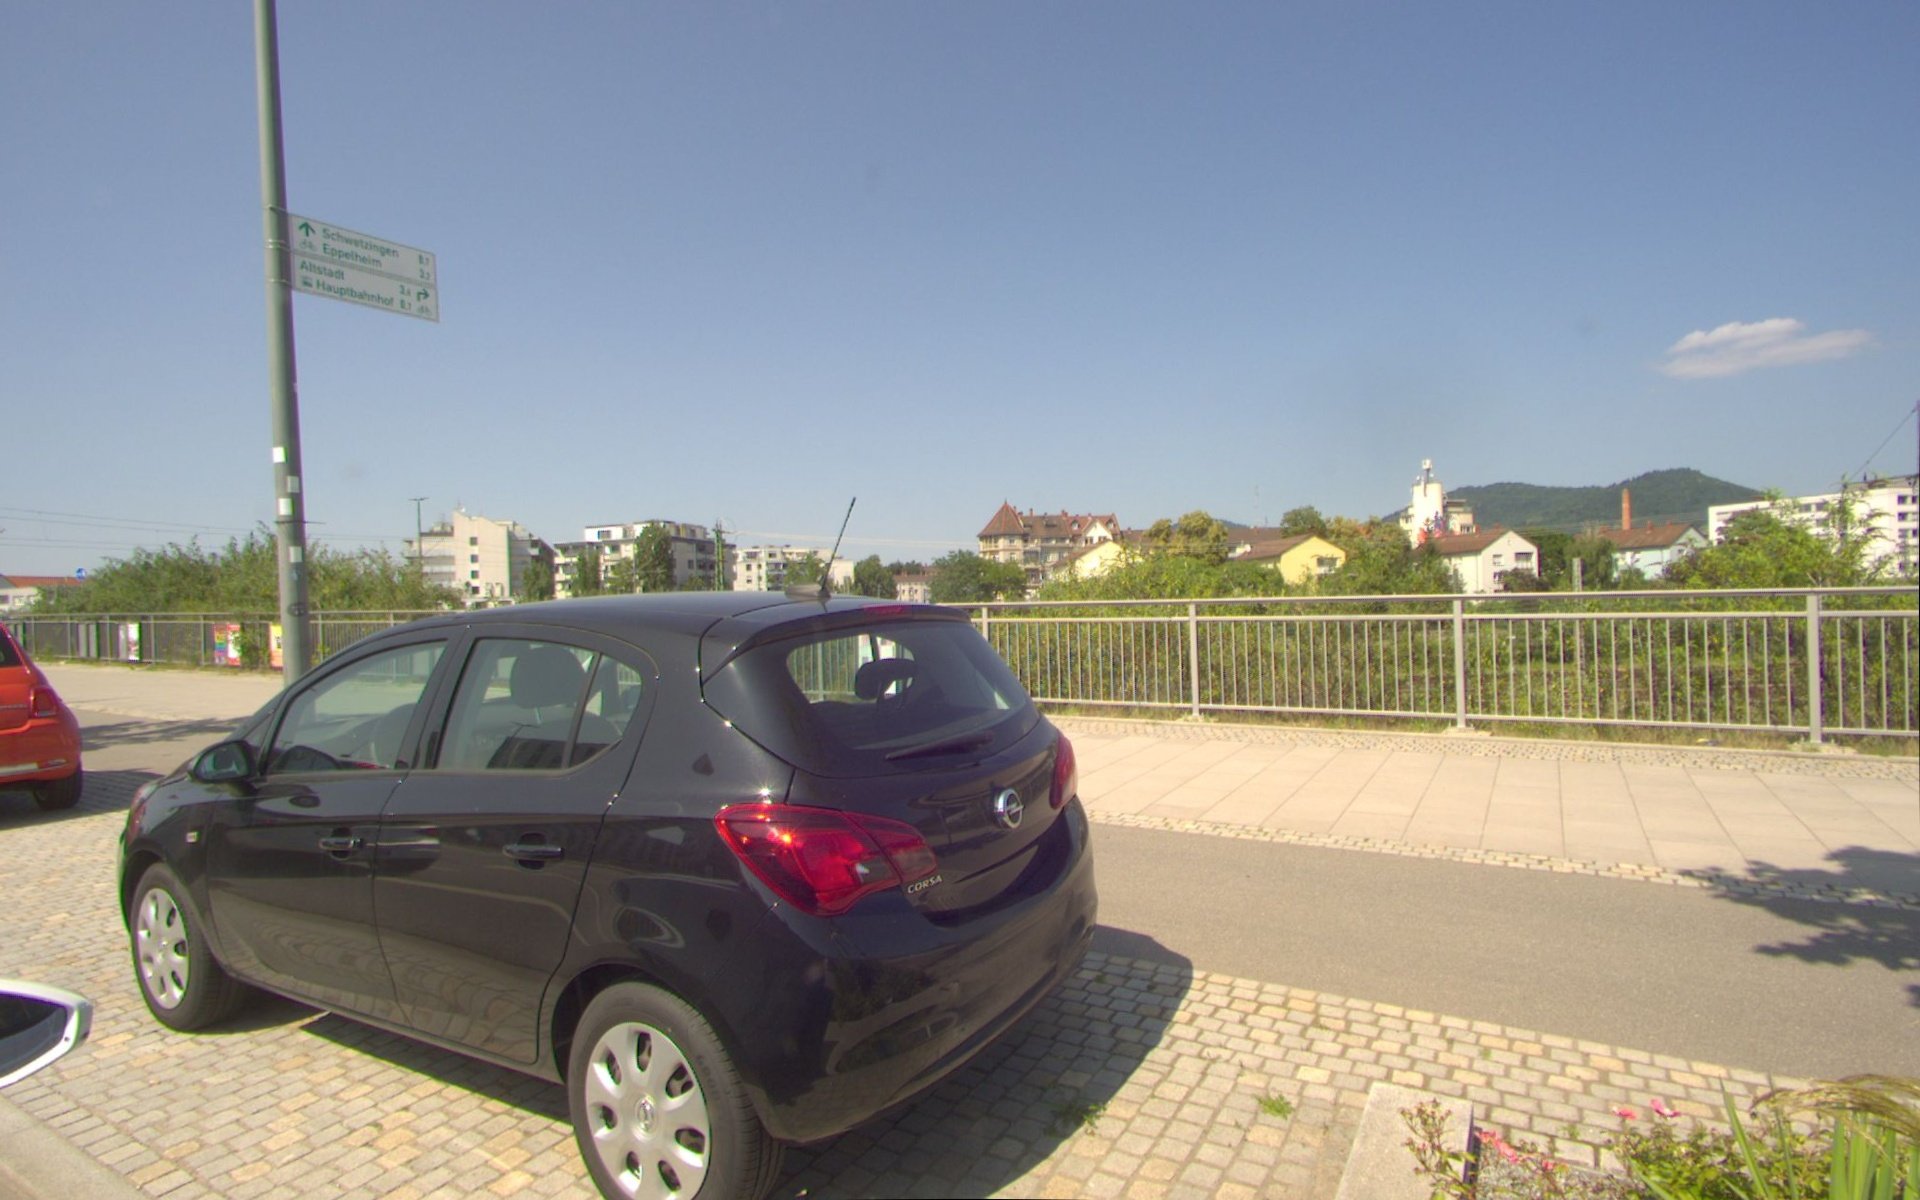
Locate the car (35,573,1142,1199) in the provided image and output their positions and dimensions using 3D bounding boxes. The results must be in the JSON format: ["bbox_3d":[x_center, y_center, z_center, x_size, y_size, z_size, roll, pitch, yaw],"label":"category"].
[{"bbox_3d":[-1.521,0.697,3.604,3.943,1.446,1.656,-1,1,32],"label":"car"}]

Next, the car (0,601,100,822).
[{"bbox_3d":[-8.156,0.802,7.595,3.305,1.517,1.605,-1,2,34],"label":"car"}]
